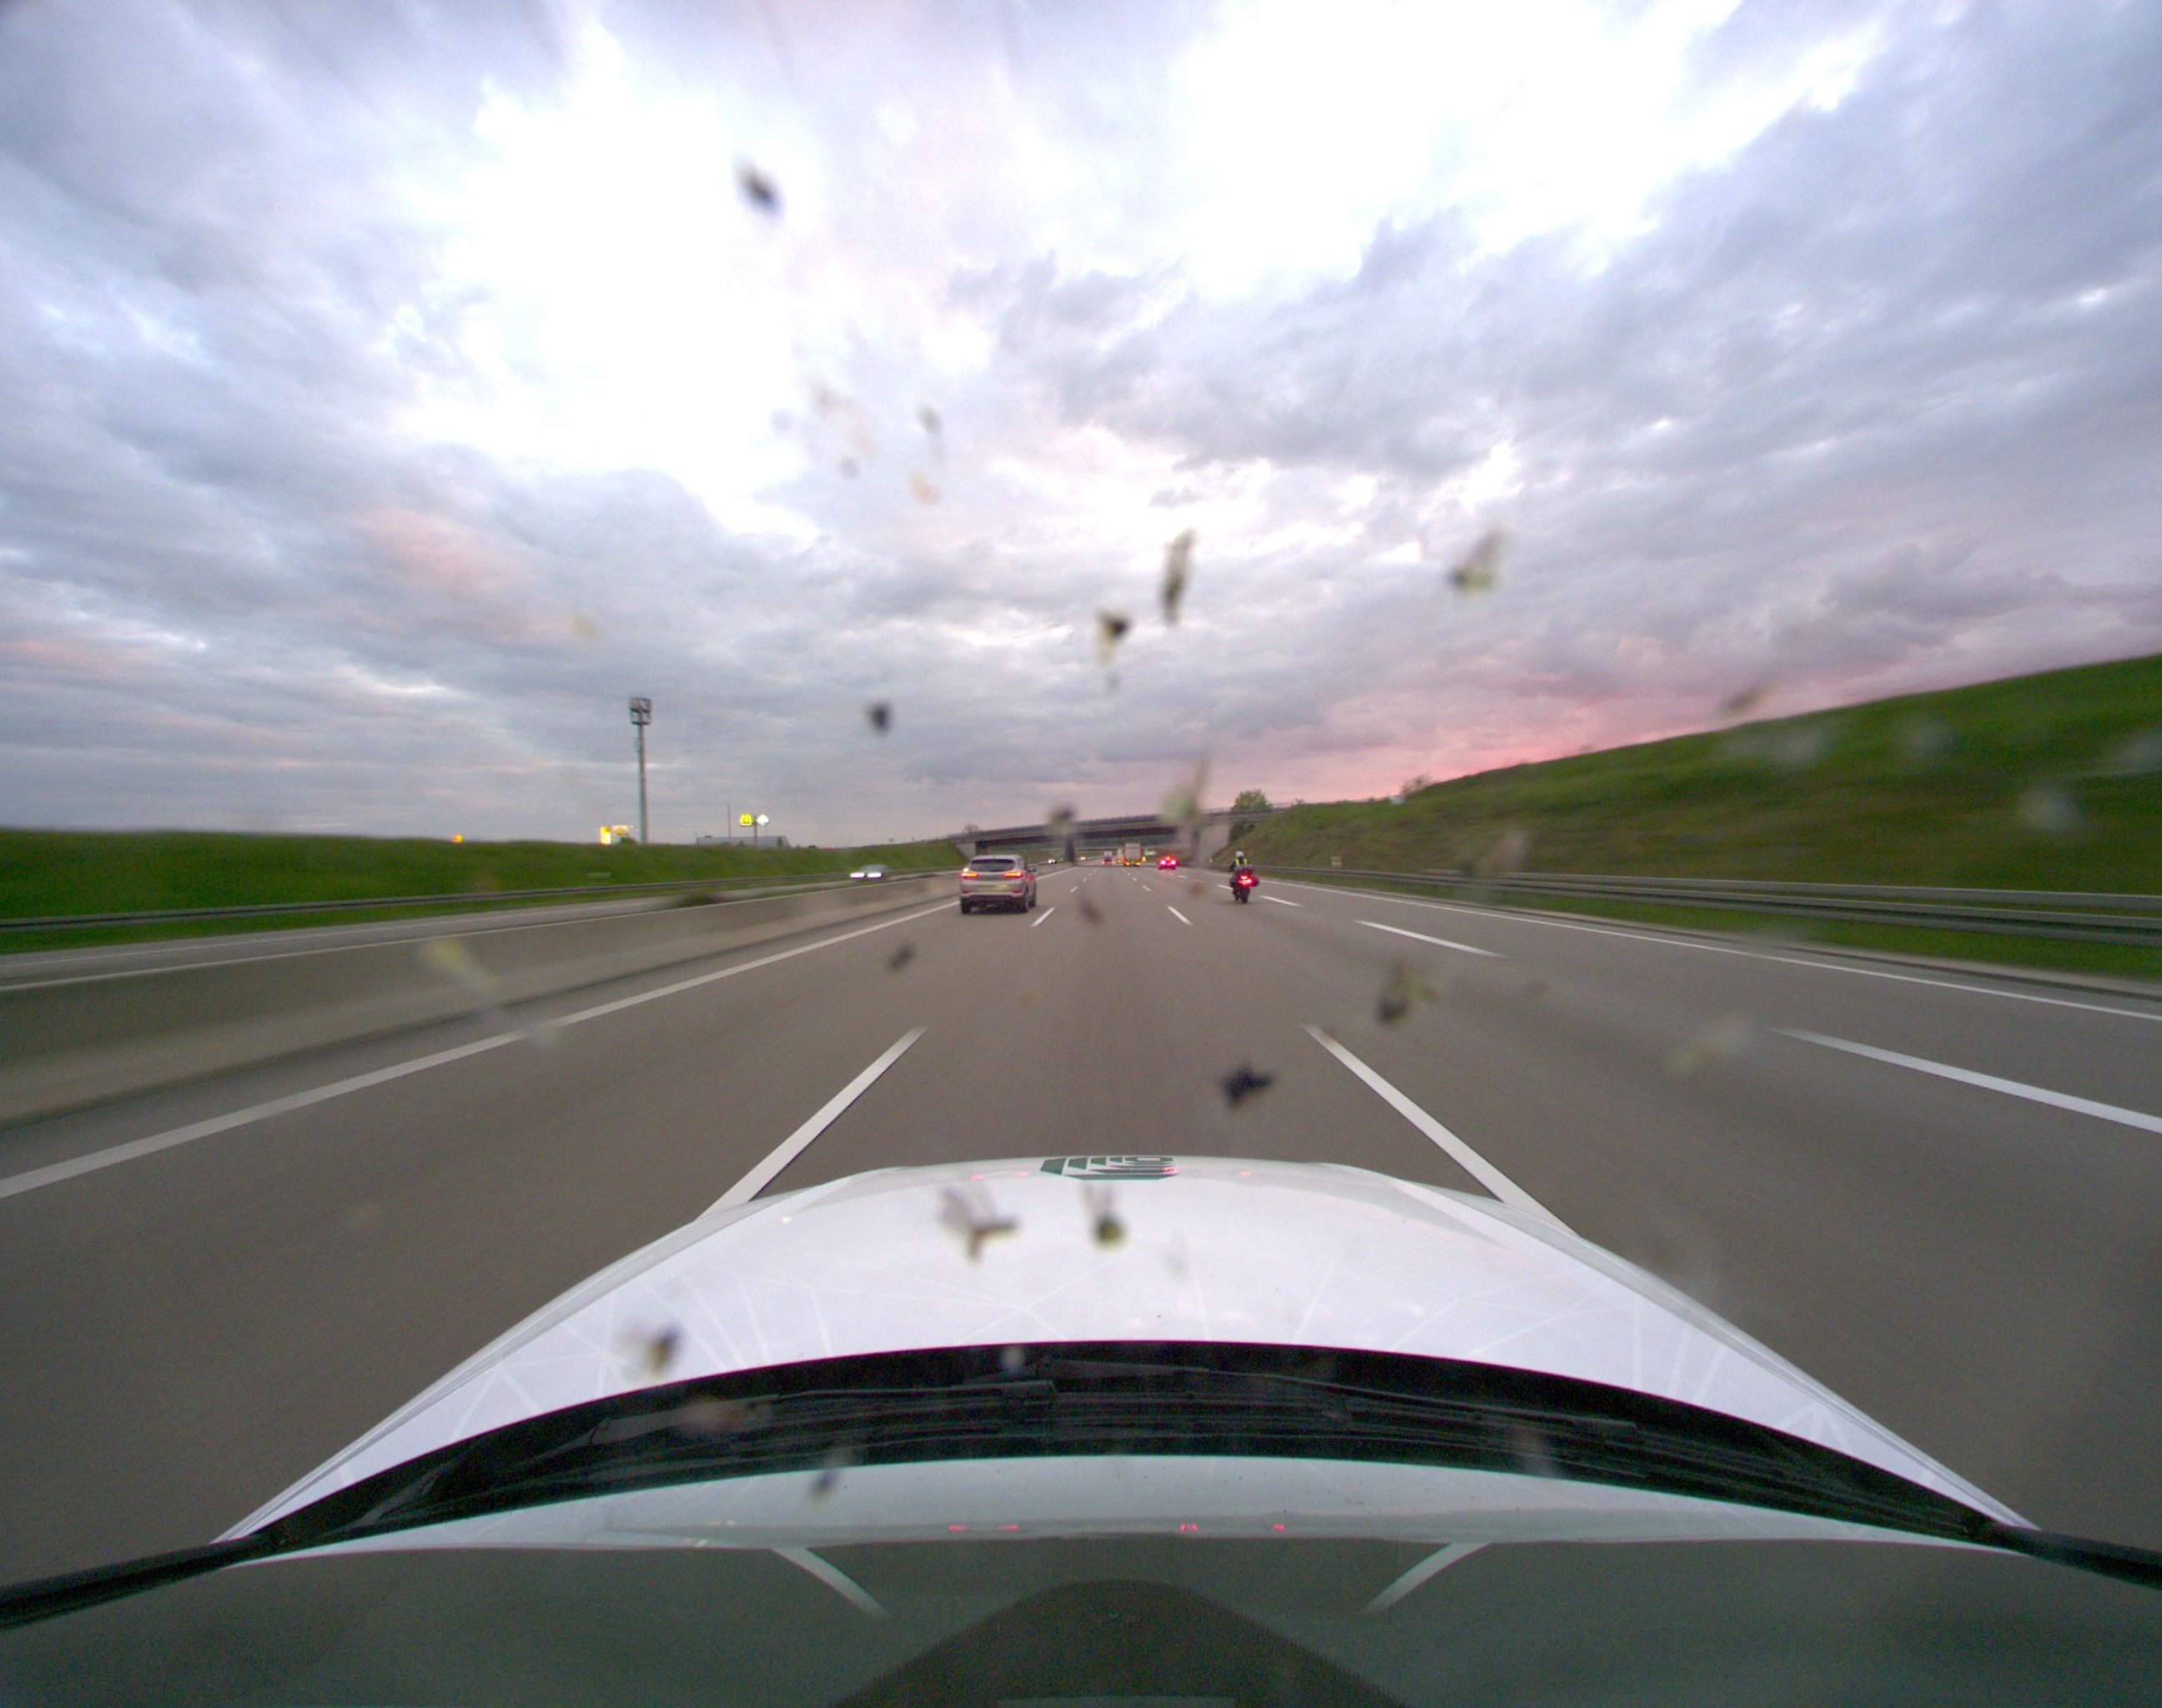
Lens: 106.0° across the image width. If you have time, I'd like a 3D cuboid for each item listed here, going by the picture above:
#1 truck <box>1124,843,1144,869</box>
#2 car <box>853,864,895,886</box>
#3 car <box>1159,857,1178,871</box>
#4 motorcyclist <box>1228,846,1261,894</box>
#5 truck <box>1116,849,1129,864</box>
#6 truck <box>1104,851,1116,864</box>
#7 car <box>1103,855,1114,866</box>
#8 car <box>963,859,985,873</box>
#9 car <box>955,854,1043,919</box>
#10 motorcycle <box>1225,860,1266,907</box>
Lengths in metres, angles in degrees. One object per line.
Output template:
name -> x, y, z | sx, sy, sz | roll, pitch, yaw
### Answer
truck -> 9.082, 0.271, 141.091 | 3.221, 4.227, 9.605 | 0, 0, 2
car -> -16.680, 1.678, 65.802 | 1.986, 1.602, 5.200 | -1, -1, 1
car -> 10.673, 1.236, 99.503 | 1.911, 1.579, 4.001 | -2, 0, 1
motorcyclist -> 5.228, 0.495, 26.096 | 0.862, 1.487, 1.169 | 0, 0, 3
truck -> 11.743, 0.734, 233.387 | 3.512, 4.345, 8.408 | 0, 0, 1
truck -> 7.445, 0.959, 208.790 | 2.941, 3.217, 8.408 | 0, 0, 1
car -> 6.533, 1.458, 192.613 | 2.507, 2.391, 6.498 | -2, 0, 1
car -> -12.304, 1.378, 93.613 | 1.812, 1.628, 4.002 | -1, -1, 3
car -> -2.306, 0.864, 24.437 | 1.845, 1.692, 5.515 | -1, 0, 2
motorcycle -> 5.260, 0.915, 26.215 | 0.898, 1.346, 2.350 | -2, 1, 2
